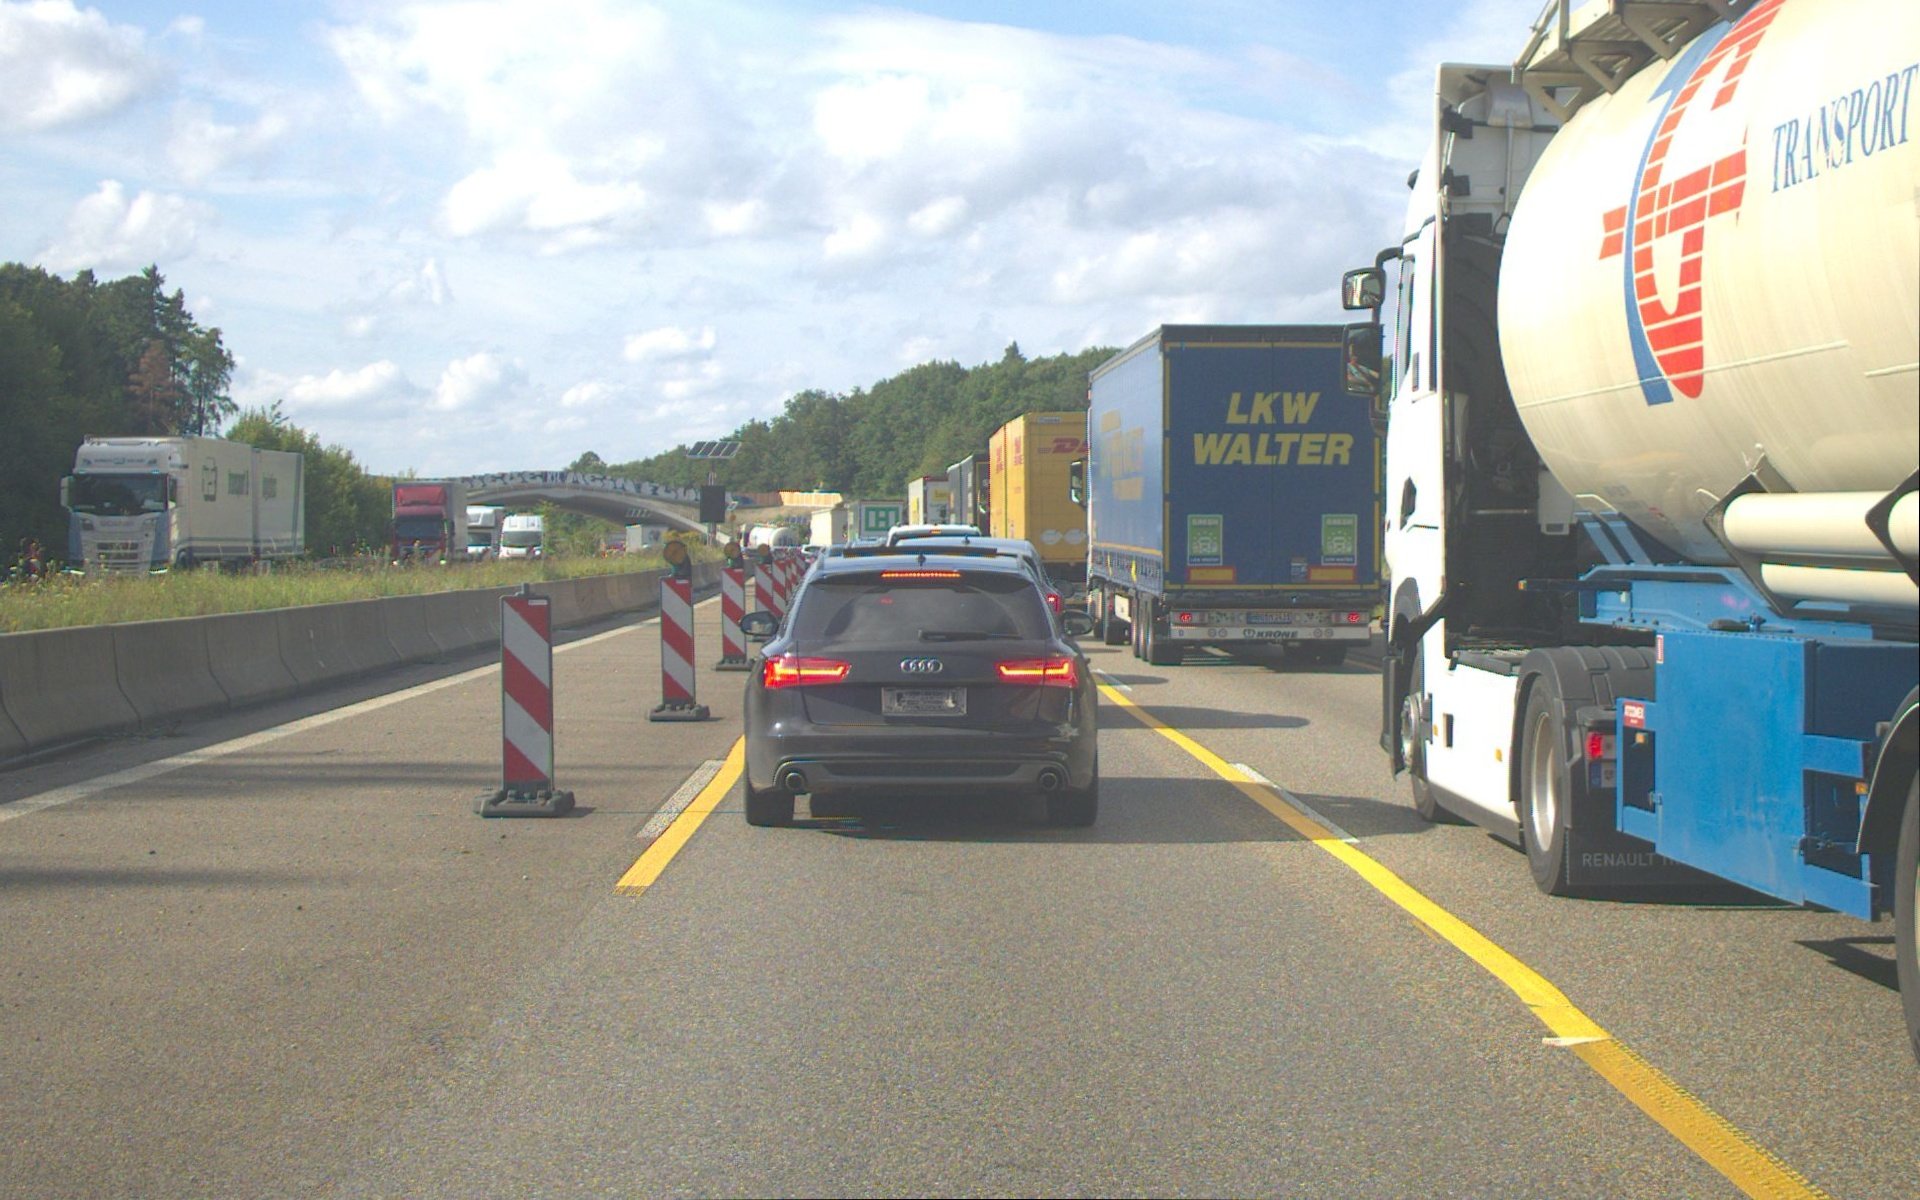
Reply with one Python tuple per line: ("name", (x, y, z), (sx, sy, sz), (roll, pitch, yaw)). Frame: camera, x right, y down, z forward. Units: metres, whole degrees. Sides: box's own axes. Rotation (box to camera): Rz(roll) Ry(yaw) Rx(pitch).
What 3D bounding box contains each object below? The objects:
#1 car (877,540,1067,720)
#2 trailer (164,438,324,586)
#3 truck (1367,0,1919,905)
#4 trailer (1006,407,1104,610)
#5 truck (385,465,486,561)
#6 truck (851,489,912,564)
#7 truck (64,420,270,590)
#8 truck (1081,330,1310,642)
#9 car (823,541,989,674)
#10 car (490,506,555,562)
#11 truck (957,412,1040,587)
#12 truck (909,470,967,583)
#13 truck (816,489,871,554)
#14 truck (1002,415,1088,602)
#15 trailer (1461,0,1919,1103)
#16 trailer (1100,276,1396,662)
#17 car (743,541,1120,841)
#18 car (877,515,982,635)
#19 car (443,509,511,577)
("car", (0.085, 0.225, 29.485), (1.524, 1.434, 3.285), (1, 1, 0))
("trailer", (-19.948, -2.404, 96.288), (2.790, 3.910, 8.489), (1, 1, -1))
("truck", (3.705, -0.785, 16.693), (2.659, 3.958, 5.779), (1, 0, -1))
("trailer", (1.884, -1.812, 69.783), (1.616, 3.905, 6.490), (1, 1, -1))
("truck", (-22.448, -3.705, 147.525), (2.800, 3.978, 10.186), (1, 1, 0))
("truck", (-4.548, -4.165, 196.899), (3.304, 4.160, 9.703), (0, 1, -2))
("truck", (-19.811, -2.306, 86.610), (2.782, 3.971, 10.863), (1, 1, -1))
("truck", (3.459, -1.641, 52.334), (2.806, 4.354, 7.792), (1, 1, -1))
("car", (-0.594, 0.065, 38.477), (1.751, 1.392, 3.608), (1, 1, 0))
("car", (-19.804, -2.990, 155.791), (2.160, 2.443, 6.332), (1, 1, 0))
("truck", (1.082, -2.924, 101.588), (1.993, 4.897, 9.563), (1, 1, -2))
("truck", (-0.870, -2.825, 133.373), (2.137, 4.243, 7.072), (1, 1, -1))
("truck", (-7.725, -5.181, 227.128), (3.303, 4.160, 9.704), (0, 1, -4))
("truck", (1.796, -1.930, 73.776), (1.609, 3.883, 4.072), (1, 0, -1))
("trailer", (3.779, -0.686, 9.922), (2.644, 3.929, 12.598), (1, 1, -1))
("trailer", (3.527, -1.552, 44.719), (2.805, 4.398, 10.433), (1, 1, -1))
("car", (-0.160, 0.416, 19.014), (1.848, 1.458, 4.000), (1, 1, 0))
("car", (-0.485, -0.400, 54.499), (1.581, 1.830, 3.112), (1, 1, 0))
("car", (-24.323, -2.849, 173.427), (2.487, 3.358, 7.453), (1, 1, -1))
